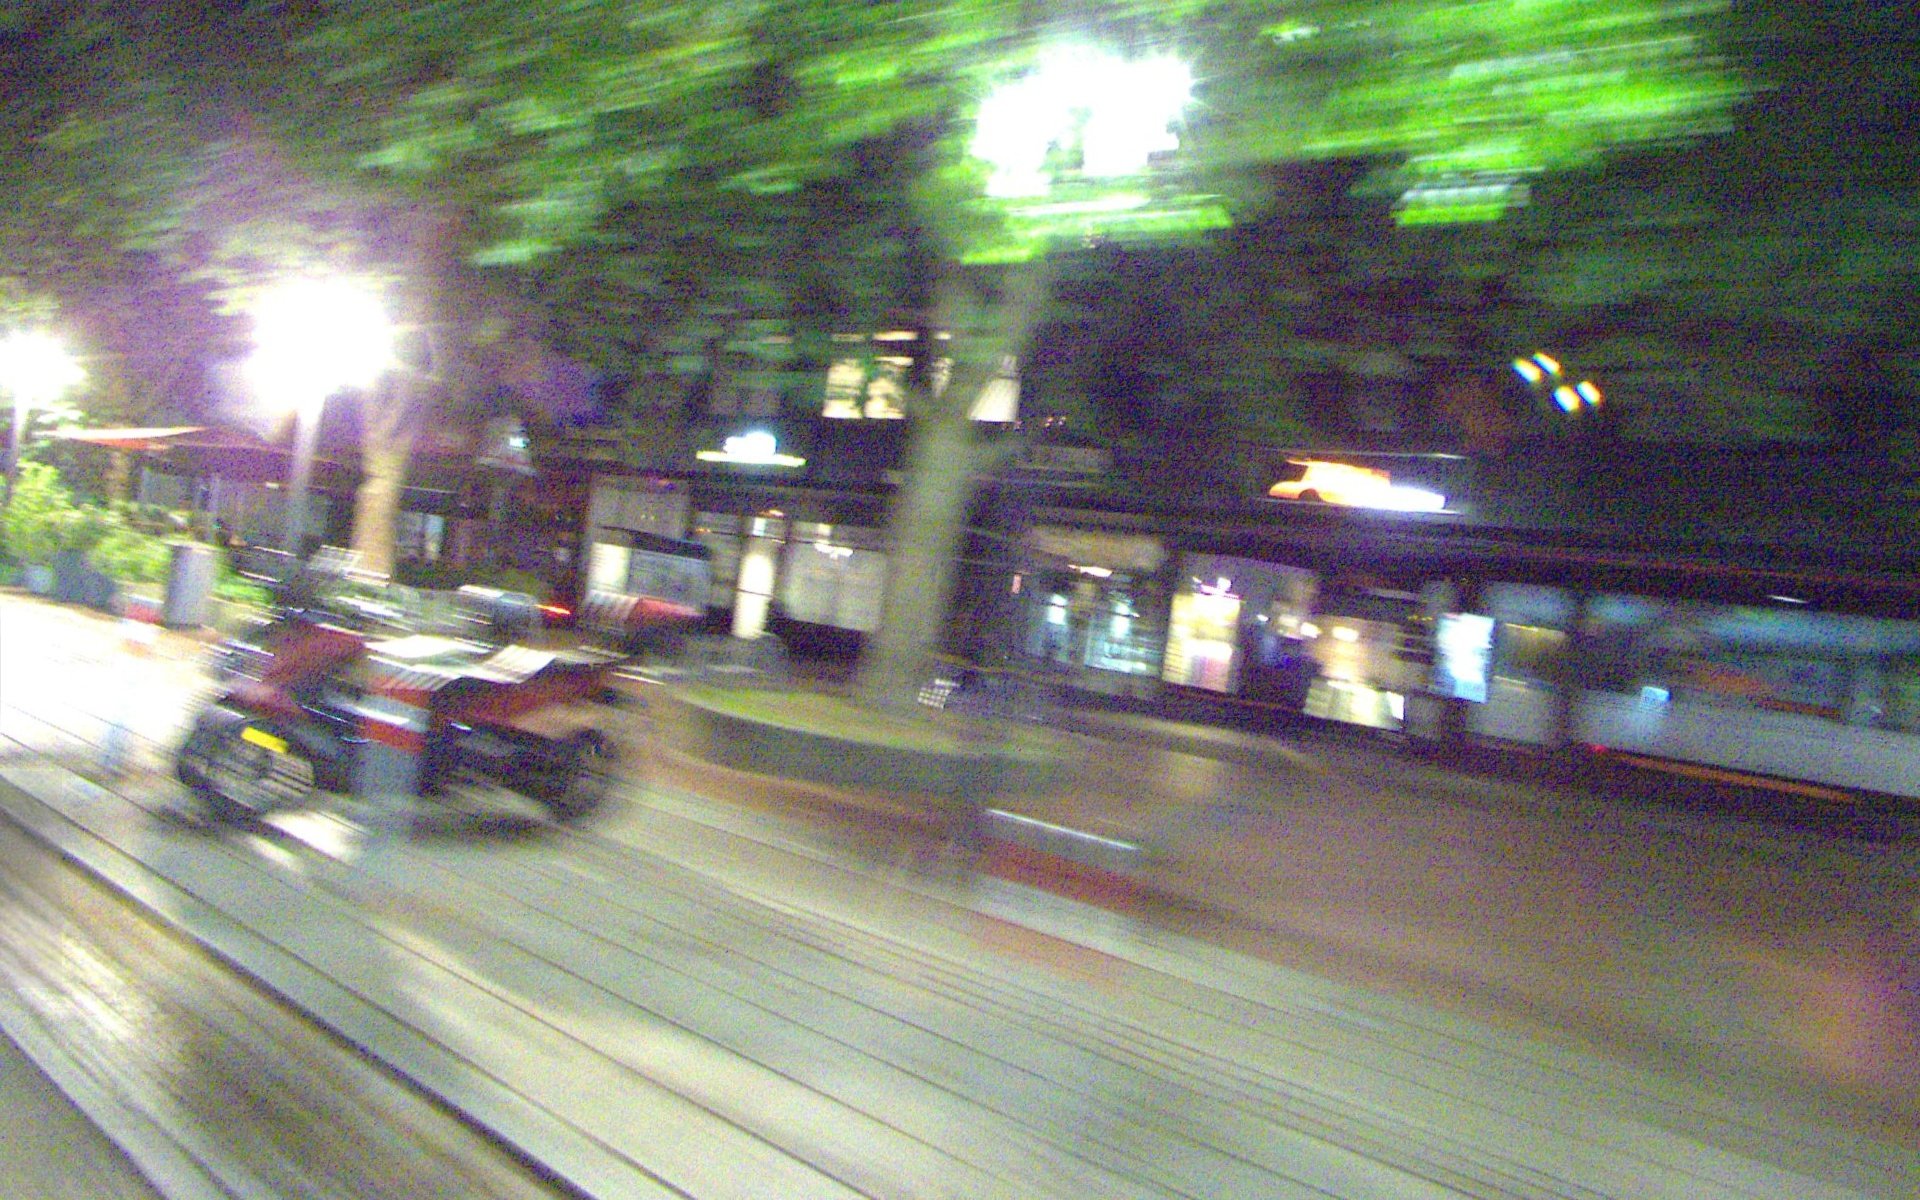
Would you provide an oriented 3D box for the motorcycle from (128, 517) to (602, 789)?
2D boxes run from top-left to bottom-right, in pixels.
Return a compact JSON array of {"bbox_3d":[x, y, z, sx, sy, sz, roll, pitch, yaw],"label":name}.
[{"bbox_3d":[-3.468,0.373,6.087,2.250,1.408,0.655,7,0,-34],"label":"motorcycle"}]

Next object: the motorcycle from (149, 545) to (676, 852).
[{"bbox_3d":[-2.628,0.527,5.090,2.140,1.313,0.513,7,0,-21],"label":"motorcycle"}]
